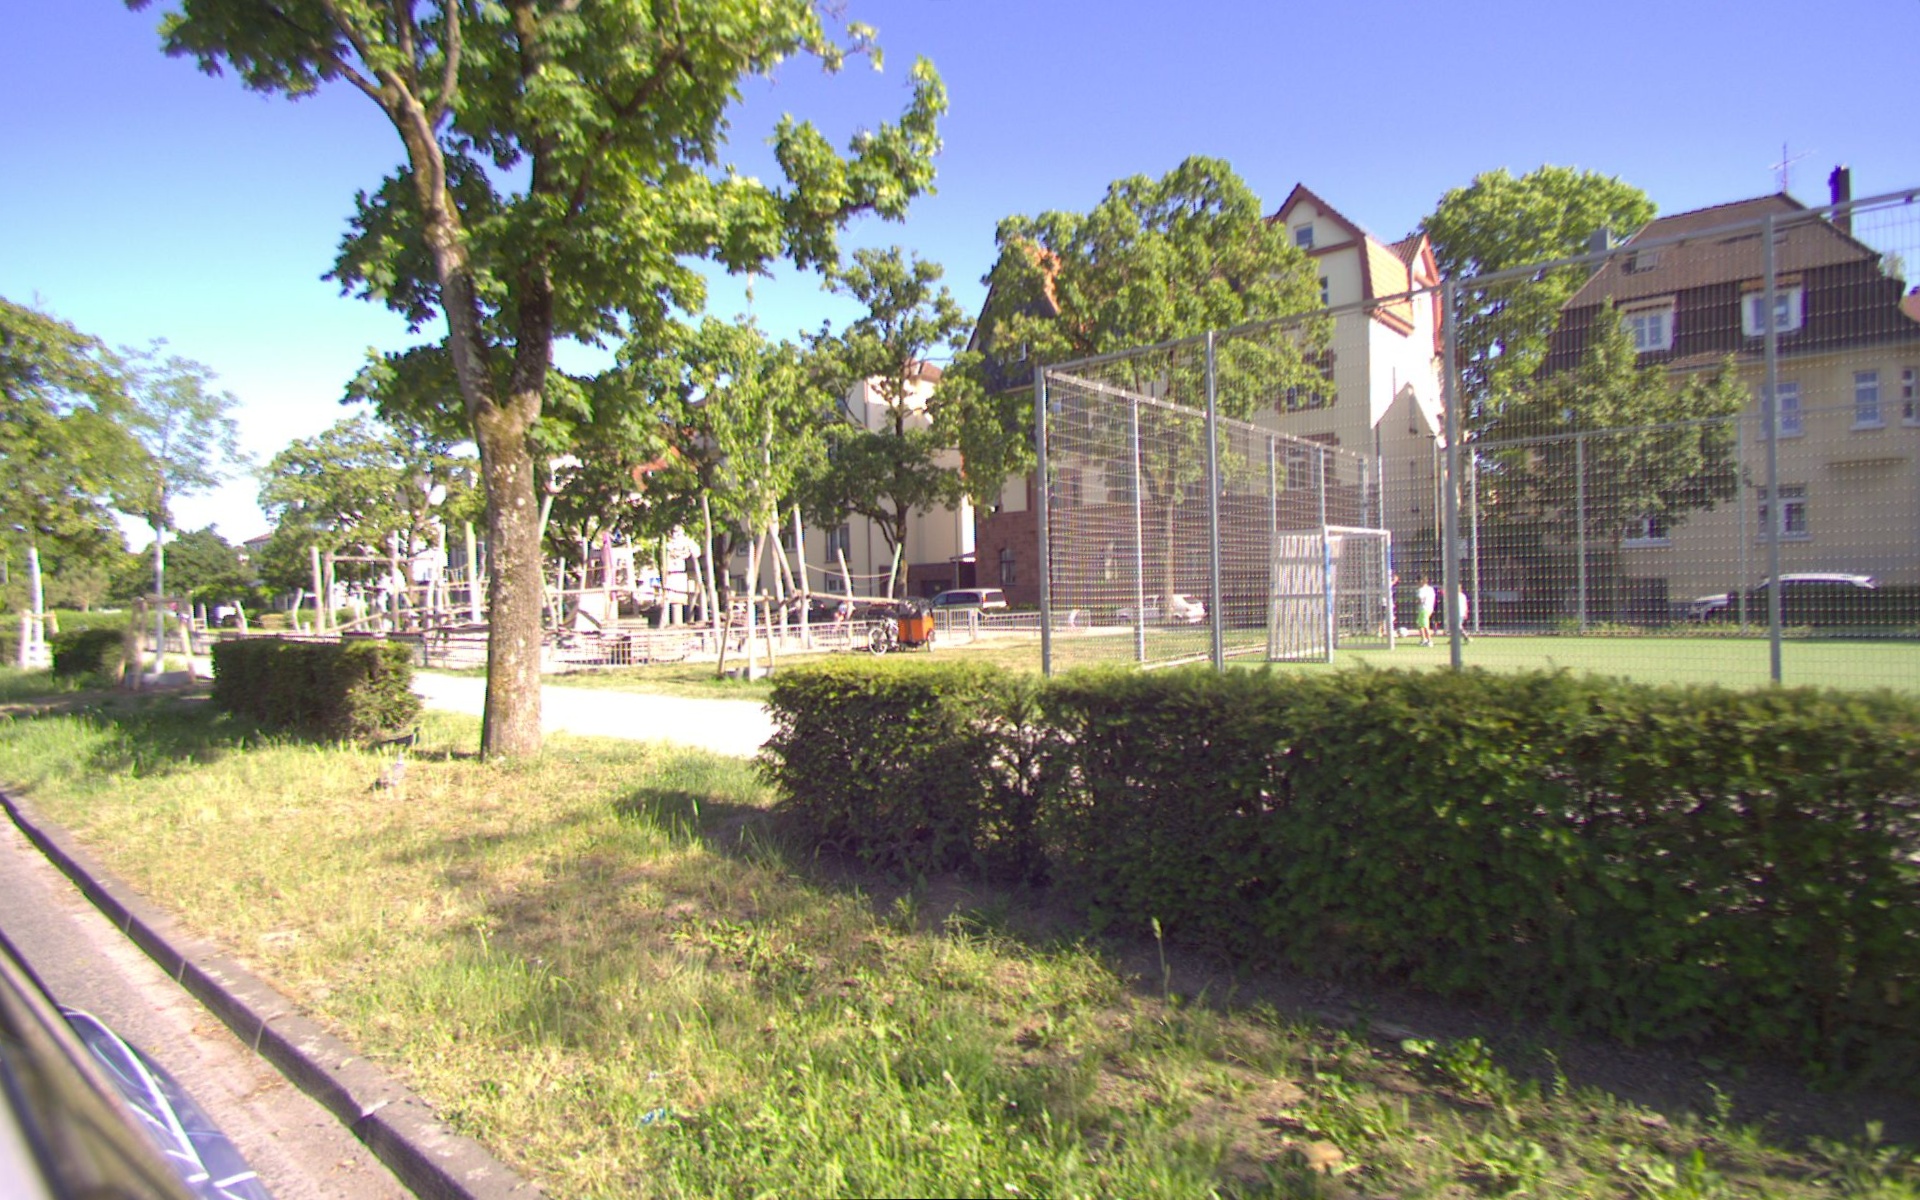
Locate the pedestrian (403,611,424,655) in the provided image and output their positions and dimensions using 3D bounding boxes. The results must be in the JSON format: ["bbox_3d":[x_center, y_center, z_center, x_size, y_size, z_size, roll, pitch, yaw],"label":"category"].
[{"bbox_3d":[-21.284,1.266,39.438,0.639,1.674,0.652,-2,1,-31],"label":"pedestrian"}]

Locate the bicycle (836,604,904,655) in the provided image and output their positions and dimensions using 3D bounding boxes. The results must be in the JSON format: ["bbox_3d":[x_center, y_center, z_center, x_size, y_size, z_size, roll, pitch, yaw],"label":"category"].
[{"bbox_3d":[-2.142,0.696,24.264,0.499,1.116,1.777,-2,1,39],"label":"bicycle"}]

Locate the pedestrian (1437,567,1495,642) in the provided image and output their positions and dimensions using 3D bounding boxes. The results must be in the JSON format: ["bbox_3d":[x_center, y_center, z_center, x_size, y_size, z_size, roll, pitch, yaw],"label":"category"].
[{"bbox_3d":[9.264,0.072,18.546,0.639,1.328,0.652,-2,1,-20],"label":"pedestrian"}]

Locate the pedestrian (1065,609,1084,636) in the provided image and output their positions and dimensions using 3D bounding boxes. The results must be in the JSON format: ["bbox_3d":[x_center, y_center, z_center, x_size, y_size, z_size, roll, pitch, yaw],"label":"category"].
[{"bbox_3d":[3.621,0.706,31.947,0.359,0.810,0.478,-2,0,42],"label":"pedestrian"}]

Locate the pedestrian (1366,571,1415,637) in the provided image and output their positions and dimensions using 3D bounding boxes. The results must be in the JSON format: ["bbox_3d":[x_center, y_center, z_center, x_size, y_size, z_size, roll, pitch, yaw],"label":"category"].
[{"bbox_3d":[9.041,0.081,21.254,0.639,1.328,0.652,-2,1,-20],"label":"pedestrian"}]

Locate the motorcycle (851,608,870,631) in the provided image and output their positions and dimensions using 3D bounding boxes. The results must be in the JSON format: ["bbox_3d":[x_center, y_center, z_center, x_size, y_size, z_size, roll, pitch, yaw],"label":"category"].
[{"bbox_3d":[-3.709,0.727,37.759,0.283,0.833,0.695,-2,1,39],"label":"motorcycle"}]

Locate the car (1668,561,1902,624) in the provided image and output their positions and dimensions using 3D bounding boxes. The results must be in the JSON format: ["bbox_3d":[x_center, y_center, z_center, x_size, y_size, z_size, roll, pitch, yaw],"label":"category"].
[{"bbox_3d":[24.039,-0.197,29.700,5.180,1.664,1.862,-2,1,41],"label":"car"}]

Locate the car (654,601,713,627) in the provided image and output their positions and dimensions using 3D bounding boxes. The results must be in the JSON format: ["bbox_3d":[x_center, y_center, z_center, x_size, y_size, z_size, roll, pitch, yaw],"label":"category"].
[{"bbox_3d":[-18.088,0.910,66.194,3.997,1.566,1.776,-2,1,41],"label":"car"}]

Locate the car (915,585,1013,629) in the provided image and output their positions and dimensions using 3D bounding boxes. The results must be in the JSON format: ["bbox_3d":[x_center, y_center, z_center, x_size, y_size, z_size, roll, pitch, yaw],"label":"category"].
[{"bbox_3d":[0.162,0.365,50.268,4.833,1.997,1.776,-2,1,41],"label":"car"}]

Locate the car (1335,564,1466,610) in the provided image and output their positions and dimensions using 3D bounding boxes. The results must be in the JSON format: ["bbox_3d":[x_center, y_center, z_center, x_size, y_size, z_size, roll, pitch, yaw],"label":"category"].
[{"bbox_3d":[15.977,-0.466,36.817,3.998,1.521,1.776,-2,1,41],"label":"car"}]

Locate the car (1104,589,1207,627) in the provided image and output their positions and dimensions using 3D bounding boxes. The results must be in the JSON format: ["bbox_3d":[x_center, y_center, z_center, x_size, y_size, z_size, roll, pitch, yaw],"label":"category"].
[{"bbox_3d":[8.380,0.349,43.553,3.998,1.521,1.776,-2,1,41],"label":"car"}]

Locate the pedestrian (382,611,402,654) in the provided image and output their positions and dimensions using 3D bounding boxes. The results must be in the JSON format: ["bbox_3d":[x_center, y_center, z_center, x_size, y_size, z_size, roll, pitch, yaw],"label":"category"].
[{"bbox_3d":[-22.555,1.269,40.175,0.639,1.674,0.652,-2,1,-31],"label":"pedestrian"}]

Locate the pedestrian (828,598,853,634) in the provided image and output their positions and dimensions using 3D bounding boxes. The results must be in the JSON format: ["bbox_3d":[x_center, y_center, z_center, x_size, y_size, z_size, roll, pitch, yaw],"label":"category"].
[{"bbox_3d":[-4.483,0.591,37.999,0.649,1.328,0.642,-2,0,38],"label":"pedestrian"}]

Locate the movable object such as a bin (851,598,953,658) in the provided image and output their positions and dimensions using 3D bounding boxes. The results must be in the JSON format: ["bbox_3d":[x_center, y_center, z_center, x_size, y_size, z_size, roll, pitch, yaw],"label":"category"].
[{"bbox_3d":[-1.274,0.610,22.915,1.054,1.251,2.309,-2,0,36],"label":"movable object such as a bin"}]

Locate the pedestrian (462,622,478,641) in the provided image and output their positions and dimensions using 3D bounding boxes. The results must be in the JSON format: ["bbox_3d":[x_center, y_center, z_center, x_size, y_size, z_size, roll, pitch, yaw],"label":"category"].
[{"bbox_3d":[-25.469,1.625,52.567,0.535,0.986,0.779,-2,1,-42],"label":"pedestrian"}]

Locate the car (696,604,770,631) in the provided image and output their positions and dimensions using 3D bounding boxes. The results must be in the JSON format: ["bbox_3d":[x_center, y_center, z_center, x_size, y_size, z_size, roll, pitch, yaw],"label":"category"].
[{"bbox_3d":[-14.060,1.092,62.587,4.760,1.521,1.887,-2,1,40],"label":"car"}]

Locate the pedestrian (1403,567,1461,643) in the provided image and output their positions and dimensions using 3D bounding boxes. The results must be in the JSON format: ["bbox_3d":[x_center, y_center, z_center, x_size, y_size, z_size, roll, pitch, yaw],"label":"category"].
[{"bbox_3d":[8.512,0.086,18.260,0.639,1.328,0.652,-2,1,-20],"label":"pedestrian"}]
